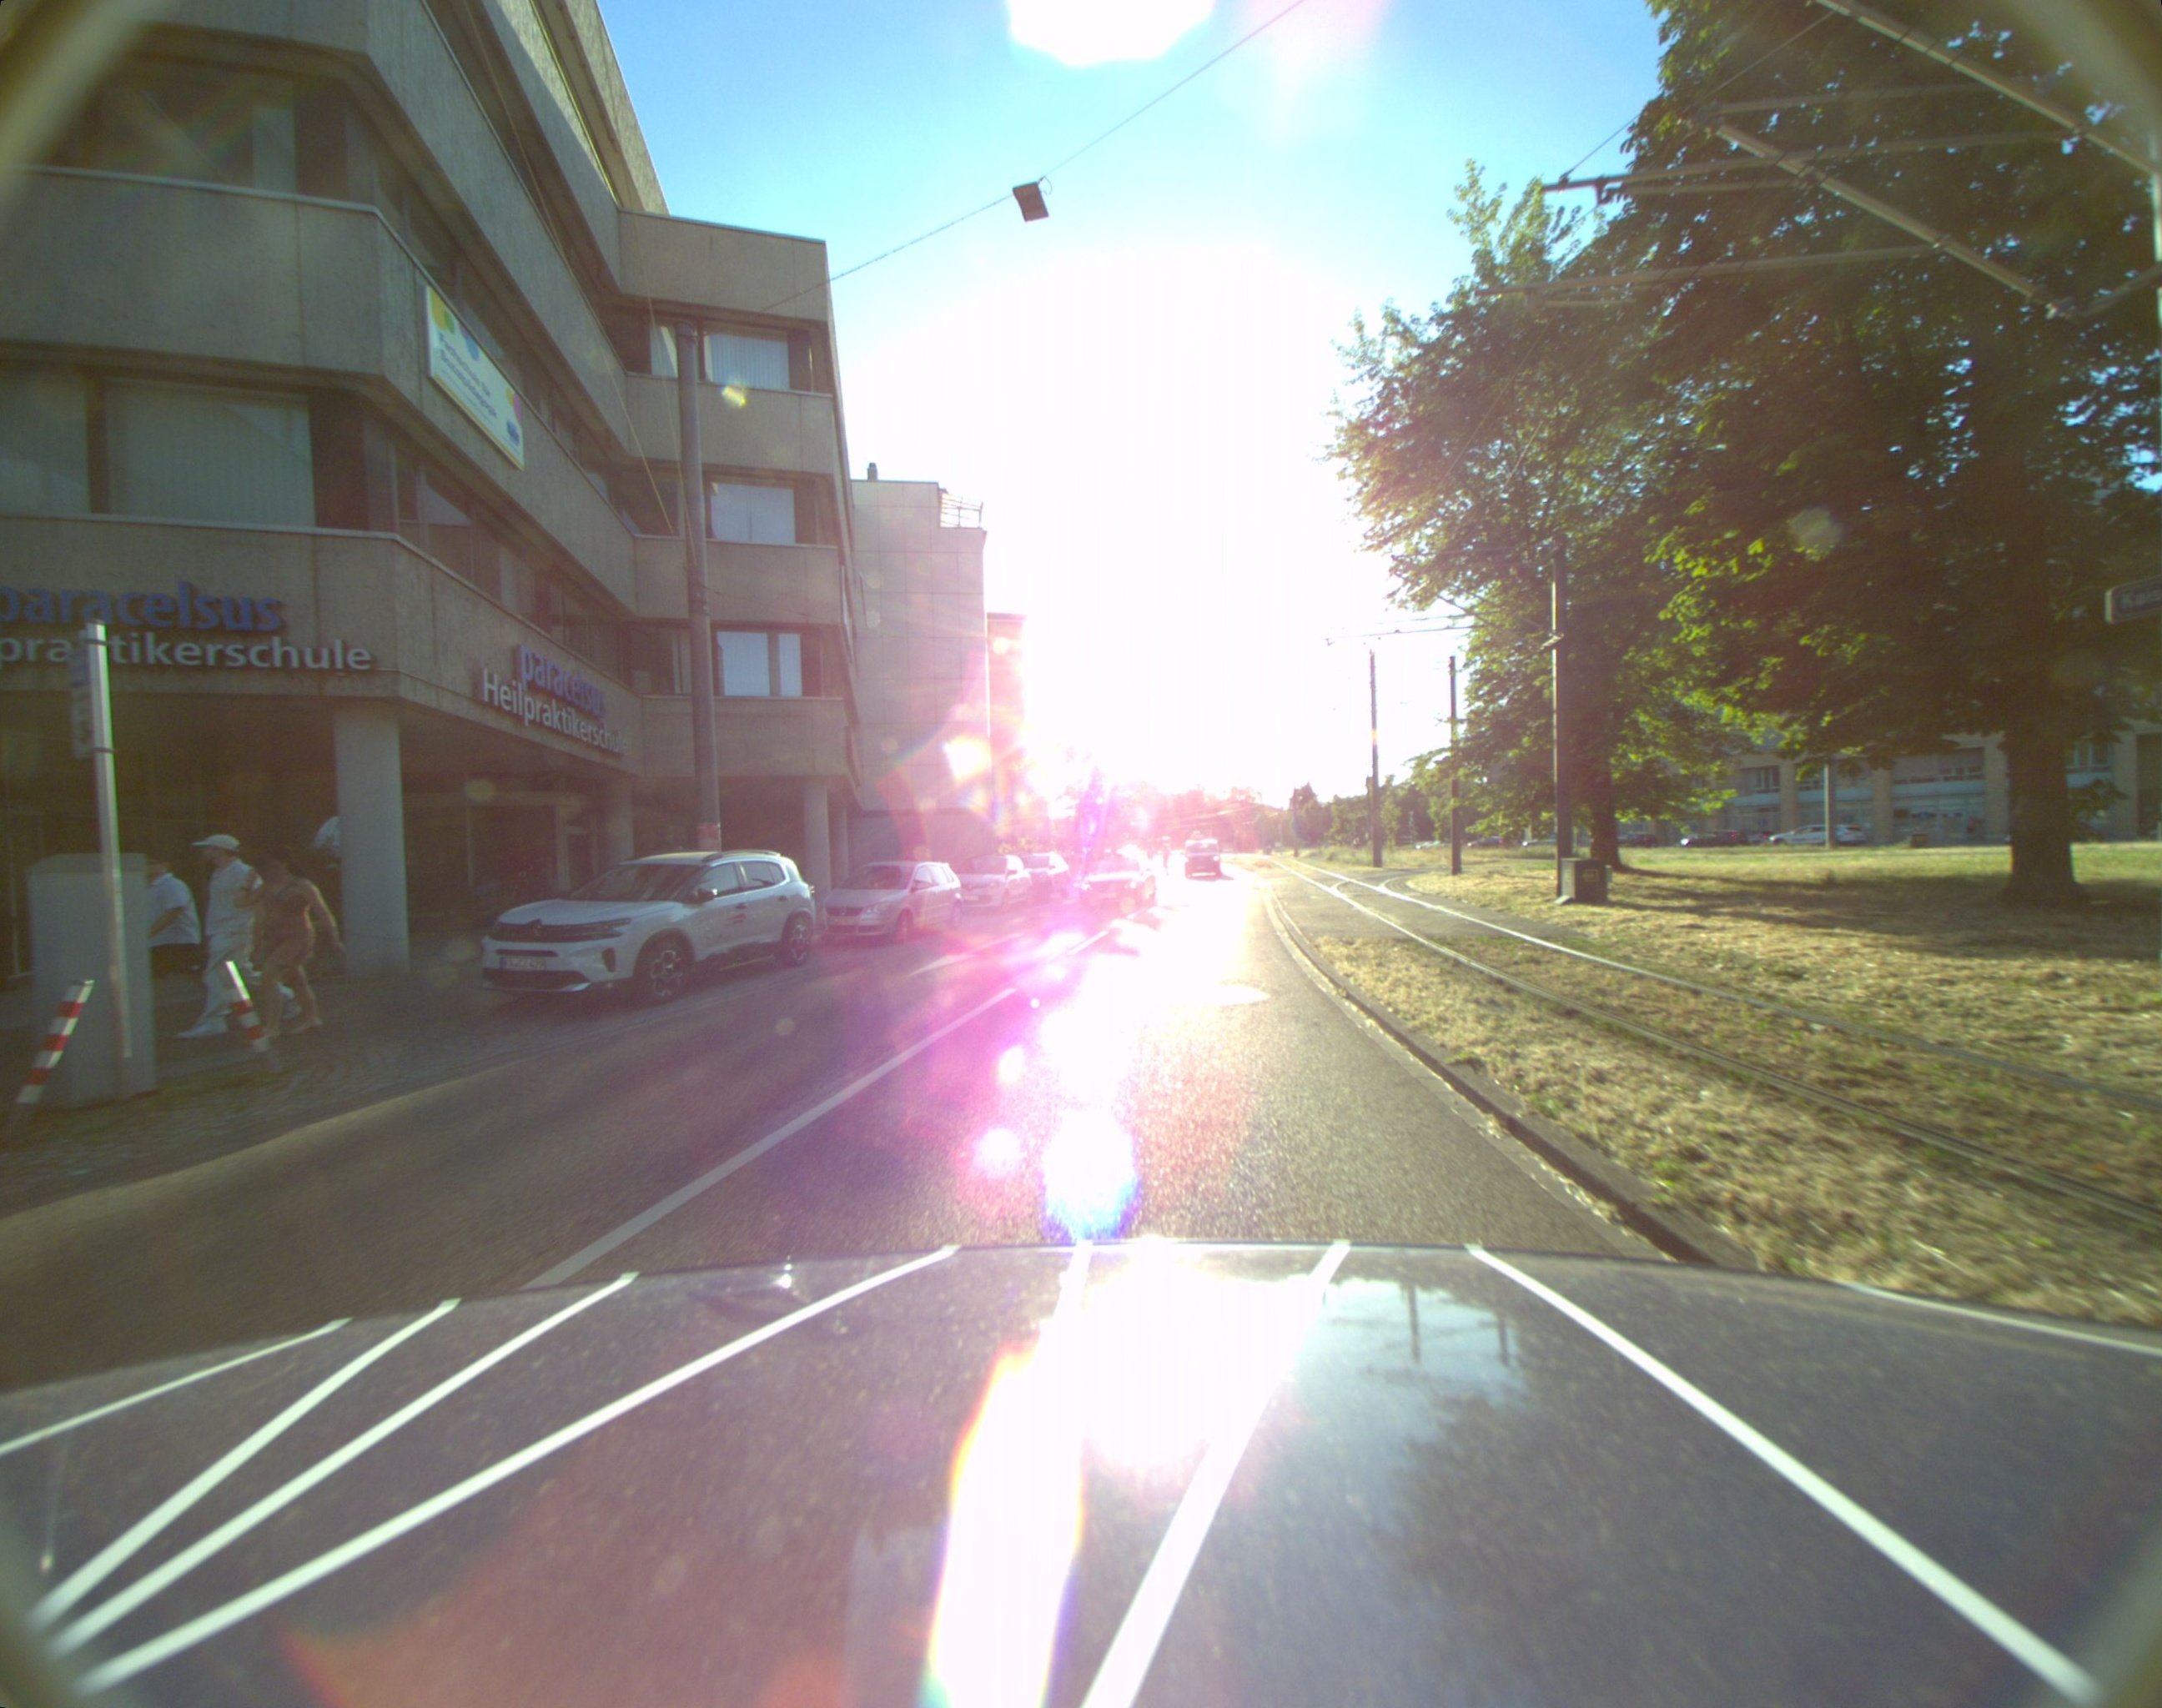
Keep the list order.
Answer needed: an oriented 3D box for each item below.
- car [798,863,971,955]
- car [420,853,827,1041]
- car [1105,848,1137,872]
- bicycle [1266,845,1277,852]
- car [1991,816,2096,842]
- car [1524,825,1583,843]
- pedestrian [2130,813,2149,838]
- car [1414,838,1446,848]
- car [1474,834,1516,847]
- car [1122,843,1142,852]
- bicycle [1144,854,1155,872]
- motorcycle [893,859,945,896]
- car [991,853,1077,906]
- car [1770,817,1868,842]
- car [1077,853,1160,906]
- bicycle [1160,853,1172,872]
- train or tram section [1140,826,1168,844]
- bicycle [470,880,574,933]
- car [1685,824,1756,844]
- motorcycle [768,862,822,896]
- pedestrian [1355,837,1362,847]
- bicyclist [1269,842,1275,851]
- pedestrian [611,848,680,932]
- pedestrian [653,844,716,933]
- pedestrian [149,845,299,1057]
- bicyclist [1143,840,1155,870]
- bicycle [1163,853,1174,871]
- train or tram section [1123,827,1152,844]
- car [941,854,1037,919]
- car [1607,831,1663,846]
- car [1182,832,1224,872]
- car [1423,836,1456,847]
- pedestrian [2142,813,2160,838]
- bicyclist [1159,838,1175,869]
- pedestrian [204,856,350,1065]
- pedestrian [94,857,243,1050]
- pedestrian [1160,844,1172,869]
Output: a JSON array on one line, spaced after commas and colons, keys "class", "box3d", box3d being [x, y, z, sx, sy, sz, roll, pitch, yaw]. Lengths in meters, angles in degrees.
[{"class": "car", "box3d": [-3.647, 0.950, 14.854, 1.664, 1.433, 3.858, 1, 1, 13]}, {"class": "car", "box3d": [-5.206, 0.877, 9.565, 1.870, 1.704, 4.508, 0, 1, 10]}, {"class": "car", "box3d": [2.692, 0.346, 50.479, 1.731, 1.464, 3.901, 0, 1, 8]}, {"class": "bicycle", "box3d": [33.845, -0.988, 135.012, 0.460, 1.139, 1.915, -4, 1, -31]}, {"class": "car", "box3d": [57.225, -1.468, 45.249, 1.555, 1.346, 3.516, -3, 0, -17]}, {"class": "car", "box3d": [43.558, -1.798, 70.159, 1.895, 1.472, 4.777, -3, 1, -10]}, {"class": "pedestrian", "box3d": [61.190, -1.627, 43.926, 0.415, 1.422, 0.485, -2, 1, -12]}, {"class": "car", "box3d": [53.606, -1.708, 116.726, 4.001, 1.412, 1.900, -2, 1, -12]}, {"class": "car", "box3d": [42.179, -1.367, 77.516, 1.731, 1.275, 3.784, -2, 1, -12]}, {"class": "car", "box3d": [8.413, -1.030, 125.296, 1.844, 1.393, 4.578, -5, 1, -15]}, {"class": "bicycle", "box3d": [4.179, 0.546, 46.480, 0.576, 1.022, 1.857, -2, 0, 3]}, {"class": "motorcycle", "box3d": [-5.983, 0.853, 28.158, 1.787, 1.324, 0.583, 0, 1, -1]}, {"class": "car", "box3d": [-1.474, 0.776, 25.526, 1.784, 1.548, 4.238, 0, 1, 12]}, {"class": "car", "box3d": [48.641, -1.599, 50.168, 1.777, 1.474, 4.302, -2, 0, -18]}, {"class": "car", "box3d": [1.227, 0.690, 22.615, 1.774, 1.300, 4.243, -2, 1, 12]}, {"class": "bicycle", "box3d": [5.770, 0.546, 51.473, 0.530, 1.152, 1.848, -4, 2, 0]}, {"class": "train or tram section", "box3d": [15.620, -4.064, 163.803, 2.783, 3.515, 10.558, -2, 1, -13]}, {"class": "bicycle", "box3d": [-12.158, 1.123, 16.590, 1.761, 1.066, 0.483, -1, 1, -28]}, {"class": "car", "box3d": [47.020, -1.469, 55.957, 1.652, 1.274, 3.735, -2, 0, -15]}, {"class": "motorcycle", "box3d": [-10.833, 0.953, 28.788, 2.015, 1.198, 0.531, -2, 1, 20]}, {"class": "pedestrian", "box3d": [44.499, -1.892, 121.901, 0.738, 1.663, 0.717, -2, 1, -9]}, {"class": "bicyclist", "box3d": [33.864, -1.333, 134.979, 0.522, 1.574, 0.819, -4, 1, -30]}, {"class": "pedestrian", "box3d": [-8.907, 0.714, 15.576, 0.991, 1.664, 0.641, -1, 1, -3]}, {"class": "pedestrian", "box3d": [-7.952, 0.662, 15.289, 0.699, 1.717, 1.032, -1, 1, -3]}, {"class": "pedestrian", "box3d": [-7.895, 0.847, 7.026, 0.623, 1.847, 0.662, 1, 2, 13]}, {"class": "bicyclist", "box3d": [4.161, 0.029, 46.510, 0.675, 1.797, 0.994, -2, 1, 3]}, {"class": "bicycle", "box3d": [5.336, 0.482, 46.328, 0.479, 1.022, 1.981, -2, 0, 3]}, {"class": "train or tram section", "box3d": [13.008, -4.101, 175.402, 2.783, 3.515, 13.236, -2, 1, -13]}, {"class": "car", "box3d": [-2.436, 0.812, 21.000, 1.610, 1.548, 3.612, 0, 1, 11]}, {"class": "car", "box3d": [45.449, -1.243, 62.433, 1.525, 1.147, 3.594, -2, 0, -14]}, {"class": "car", "box3d": [6.638, -0.136, 40.896, 1.918, 1.978, 4.950, -2, 1, 12]}, {"class": "car", "box3d": [51.971, -1.776, 110.195, 4.000, 1.412, 1.901, -2, 1, -9]}, {"class": "pedestrian", "box3d": [61.956, -1.671, 43.998, 0.415, 1.422, 0.485, -2, 1, -12]}, {"class": "bicyclist", "box3d": [5.241, -0.031, 46.388, 0.828, 1.797, 1.057, -2, 1, 3]}, {"class": "pedestrian", "box3d": [-7.180, 0.906, 6.812, 0.579, 1.750, 0.662, 1, 2, 13]}, {"class": "pedestrian", "box3d": [-8.665, 0.902, 7.237, 0.623, 1.730, 0.662, 1, 2, 13]}, {"class": "pedestrian", "box3d": [5.746, 0.194, 51.413, 0.640, 1.639, 0.843, -3, 1, 1]}]
